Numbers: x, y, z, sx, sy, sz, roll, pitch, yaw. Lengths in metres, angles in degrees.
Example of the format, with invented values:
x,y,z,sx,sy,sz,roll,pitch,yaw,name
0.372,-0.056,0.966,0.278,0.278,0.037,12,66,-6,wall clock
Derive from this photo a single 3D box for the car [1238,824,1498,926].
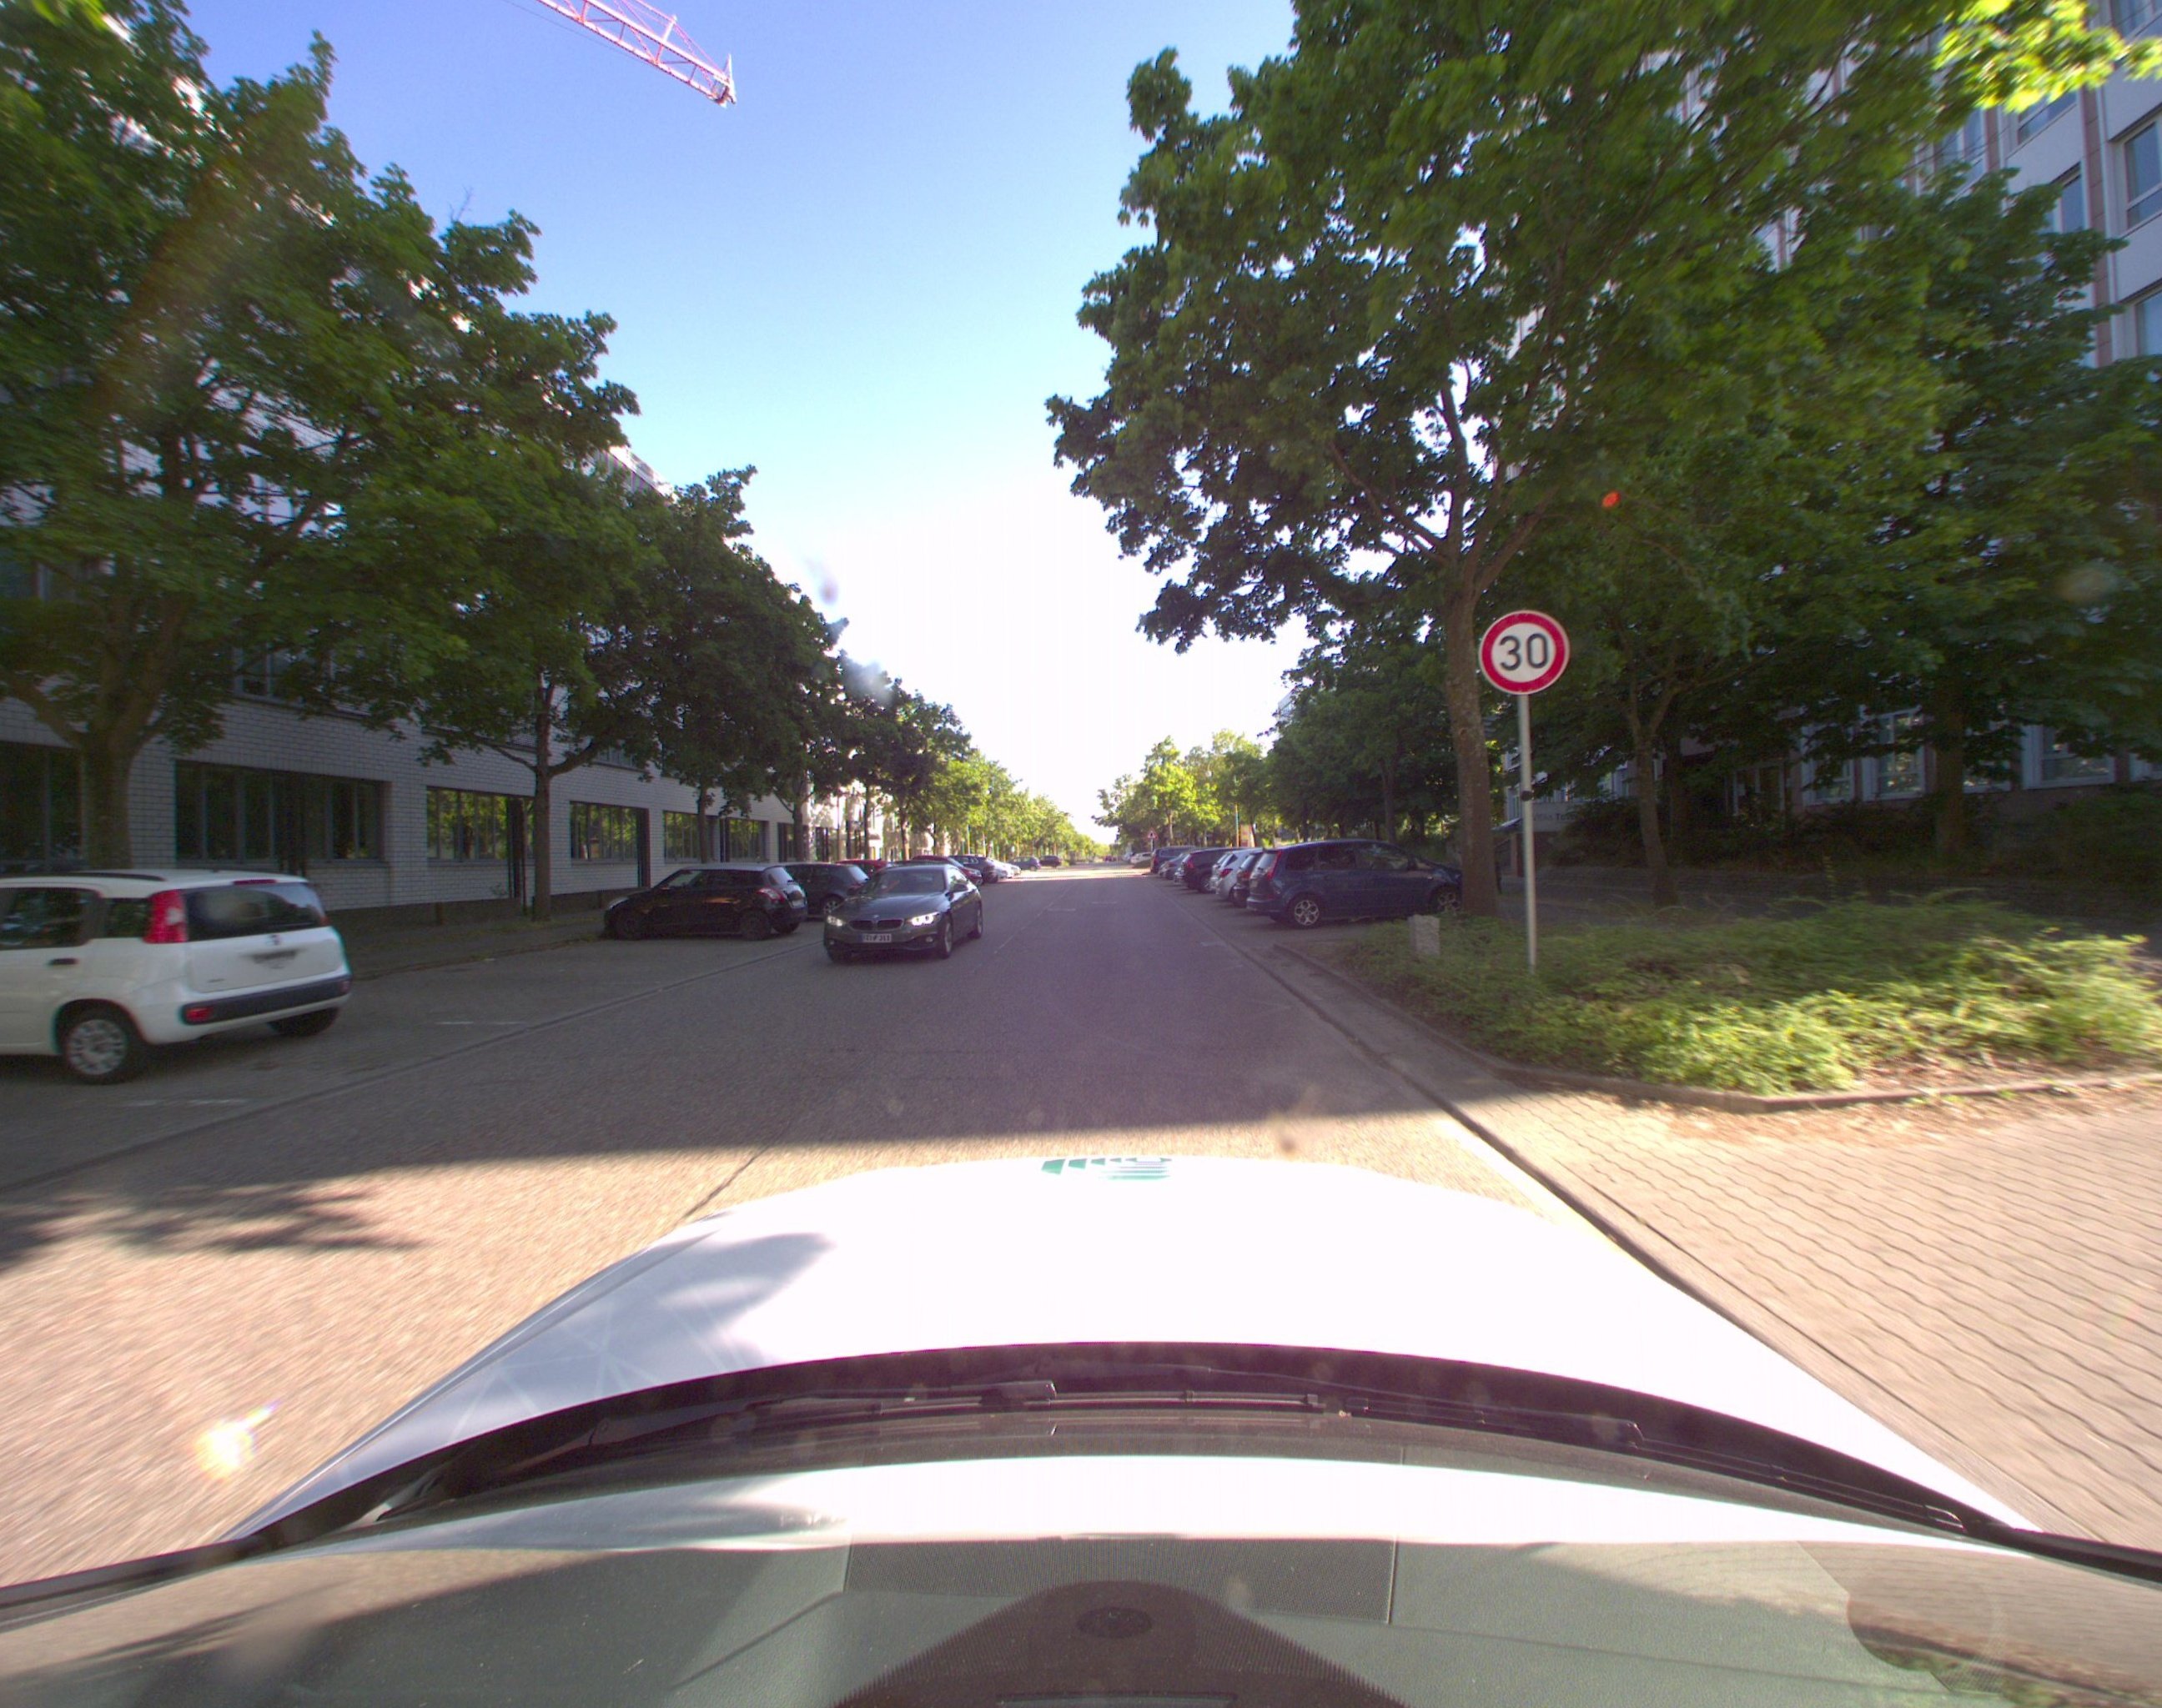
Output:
x,y,z,sx,sy,sz,roll,pitch,yaw,name
5.313,0.378,15.474,4.255,1.633,1.857,-2,0,-1,car

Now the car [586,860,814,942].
x,y,z,sx,sy,sz,roll,pitch,yaw,name
-7.507,0.903,16.304,3.720,1.464,1.677,-1,-1,0,car

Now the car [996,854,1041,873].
x,y,z,sx,sy,sz,roll,pitch,yaw,name
-5.570,0.879,72.938,3.977,1.533,1.616,-2,0,-3,car

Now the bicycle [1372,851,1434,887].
x,y,z,sx,sy,sz,roll,pitch,yaw,name
9.851,0.465,24.988,0.382,1.078,1.766,-1,-1,-40,bicycle

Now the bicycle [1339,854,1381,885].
x,y,z,sx,sy,sz,roll,pitch,yaw,name
9.891,0.540,28.971,0.380,1.078,1.776,-1,0,-19,bicycle

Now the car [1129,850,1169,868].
x,y,z,sx,sy,sz,roll,pitch,yaw,name
7.277,0.544,87.250,3.978,1.792,1.998,-1,-1,-4,car

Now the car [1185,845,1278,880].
x,y,z,sx,sy,sz,roll,pitch,yaw,name
7.100,0.409,38.623,4.034,1.421,1.735,-3,-1,-3,car

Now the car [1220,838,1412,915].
x,y,z,sx,sy,sz,roll,pitch,yaw,name
5.306,0.486,18.767,3.868,1.526,1.896,-2,0,1,car

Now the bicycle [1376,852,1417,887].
x,y,z,sx,sy,sz,roll,pitch,yaw,name
10.154,0.490,26.258,0.379,1.078,1.781,-2,0,-9,bicycle

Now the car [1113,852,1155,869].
x,y,z,sx,sy,sz,roll,pitch,yaw,name
5.230,0.633,81.088,3.978,1.624,1.998,-1,0,-4,car

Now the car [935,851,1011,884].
x,y,z,sx,sy,sz,roll,pitch,yaw,name
-6.026,0.739,45.816,3.973,1.719,1.709,-1,0,0,car

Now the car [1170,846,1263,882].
x,y,z,sx,sy,sz,roll,pitch,yaw,name
6.317,0.472,38.240,4.033,1.454,1.518,-3,-1,-2,car

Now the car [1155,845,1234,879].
x,y,z,sx,sy,sz,roll,pitch,yaw,name
5.992,0.421,43.343,3.884,1.656,1.856,-1,-1,-4,car

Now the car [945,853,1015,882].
x,y,z,sx,sy,sz,roll,pitch,yaw,name
-6.235,0.820,50.580,3.969,1.654,1.862,-2,0,4,car

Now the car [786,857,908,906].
x,y,z,sx,sy,sz,roll,pitch,yaw,name
-7.389,0.859,25.975,3.411,1.463,1.694,0,0,-4,car

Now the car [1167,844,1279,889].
x,y,z,sx,sy,sz,roll,pitch,yaw,name
5.507,0.483,31.881,4.038,1.591,1.547,-2,0,-6,car

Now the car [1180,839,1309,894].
x,y,z,sx,sy,sz,roll,pitch,yaw,name
5.661,0.429,28.620,4.227,1.554,1.923,-4,-1,6,car

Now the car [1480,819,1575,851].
x,y,z,sx,sy,sz,roll,pitch,yaw,name
25.024,-1.047,45.781,4.289,1.672,1.998,0,-1,-3,car

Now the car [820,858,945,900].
x,y,z,sx,sy,sz,roll,pitch,yaw,name
-6.898,0.850,28.589,3.974,1.412,1.665,0,-1,0,car

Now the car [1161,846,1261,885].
x,y,z,sx,sy,sz,roll,pitch,yaw,name
5.610,0.488,35.399,4.033,1.491,1.549,-3,0,-2,car

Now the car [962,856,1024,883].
x,y,z,sx,sy,sz,roll,pitch,yaw,name
-5.733,0.996,53.377,3.885,1.612,1.855,-1,-1,-5,car

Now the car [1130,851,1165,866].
x,y,z,sx,sy,sz,roll,pitch,yaw,name
8.086,0.546,99.435,3.978,1.792,1.998,-1,-1,-4,car

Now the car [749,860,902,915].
x,y,z,sx,sy,sz,roll,pitch,yaw,name
-7.327,0.938,23.637,3.855,1.457,1.754,0,1,-1,car

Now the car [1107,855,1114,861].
x,y,z,sx,sy,sz,roll,pitch,yaw,name
8.716,1.176,240.185,1.926,1.597,4.368,-2,0,2,car

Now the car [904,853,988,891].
x,y,z,sx,sy,sz,roll,pitch,yaw,name
-6.347,0.829,38.533,3.526,1.657,1.763,-2,-1,3,car

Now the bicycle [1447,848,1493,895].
x,y,z,sx,sy,sz,roll,pitch,yaw,name
9.345,0.399,19.638,0.377,1.047,1.888,-3,-1,7,bicycle

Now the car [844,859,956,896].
x,y,z,sx,sy,sz,roll,pitch,yaw,name
-6.946,0.893,31.500,3.977,1.406,1.604,0,-1,-3,car

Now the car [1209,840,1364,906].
x,y,z,sx,sy,sz,roll,pitch,yaw,name
5.305,0.491,21.325,3.622,1.467,1.633,-3,-1,1,car

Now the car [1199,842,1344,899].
x,y,z,sx,sy,sz,roll,pitch,yaw,name
5.595,0.479,24.272,3.851,1.468,1.967,-3,0,1,car

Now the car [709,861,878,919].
x,y,z,sx,sy,sz,roll,pitch,yaw,name
-7.316,0.894,20.956,3.747,1.445,1.632,0,-1,2,car

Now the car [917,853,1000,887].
x,y,z,sx,sy,sz,roll,pitch,yaw,name
-6.407,0.831,42.840,3.968,1.586,1.767,-2,-1,4,car

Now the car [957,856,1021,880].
x,y,z,sx,sy,sz,roll,pitch,yaw,name
-5.996,0.931,53.647,3.974,1.481,1.679,-1,-1,0,car

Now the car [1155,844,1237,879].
x,y,z,sx,sy,sz,roll,pitch,yaw,name
6.032,0.392,43.138,4.033,1.582,1.640,-3,-1,-2,car

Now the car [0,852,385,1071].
x,y,z,sx,sy,sz,roll,pitch,yaw,name
-8.262,0.839,6.707,3.569,1.550,1.636,-1,-3,-1,car

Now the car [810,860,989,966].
x,y,z,sx,sy,sz,roll,pitch,yaw,name
-2.792,0.849,13.506,1.805,1.415,4.111,-1,0,3,car

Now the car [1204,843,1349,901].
x,y,z,sx,sy,sz,roll,pitch,yaw,name
5.652,0.517,23.919,3.742,1.449,1.879,-3,-1,-2,car

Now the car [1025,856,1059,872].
x,y,z,sx,sy,sz,roll,pitch,yaw,name
-4.659,1.182,97.775,3.973,1.684,2.000,-2,-1,1,car

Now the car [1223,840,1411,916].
x,y,z,sx,sy,sz,roll,pitch,yaw,name
5.258,0.524,18.577,3.725,1.467,1.912,-3,-1,3,car
